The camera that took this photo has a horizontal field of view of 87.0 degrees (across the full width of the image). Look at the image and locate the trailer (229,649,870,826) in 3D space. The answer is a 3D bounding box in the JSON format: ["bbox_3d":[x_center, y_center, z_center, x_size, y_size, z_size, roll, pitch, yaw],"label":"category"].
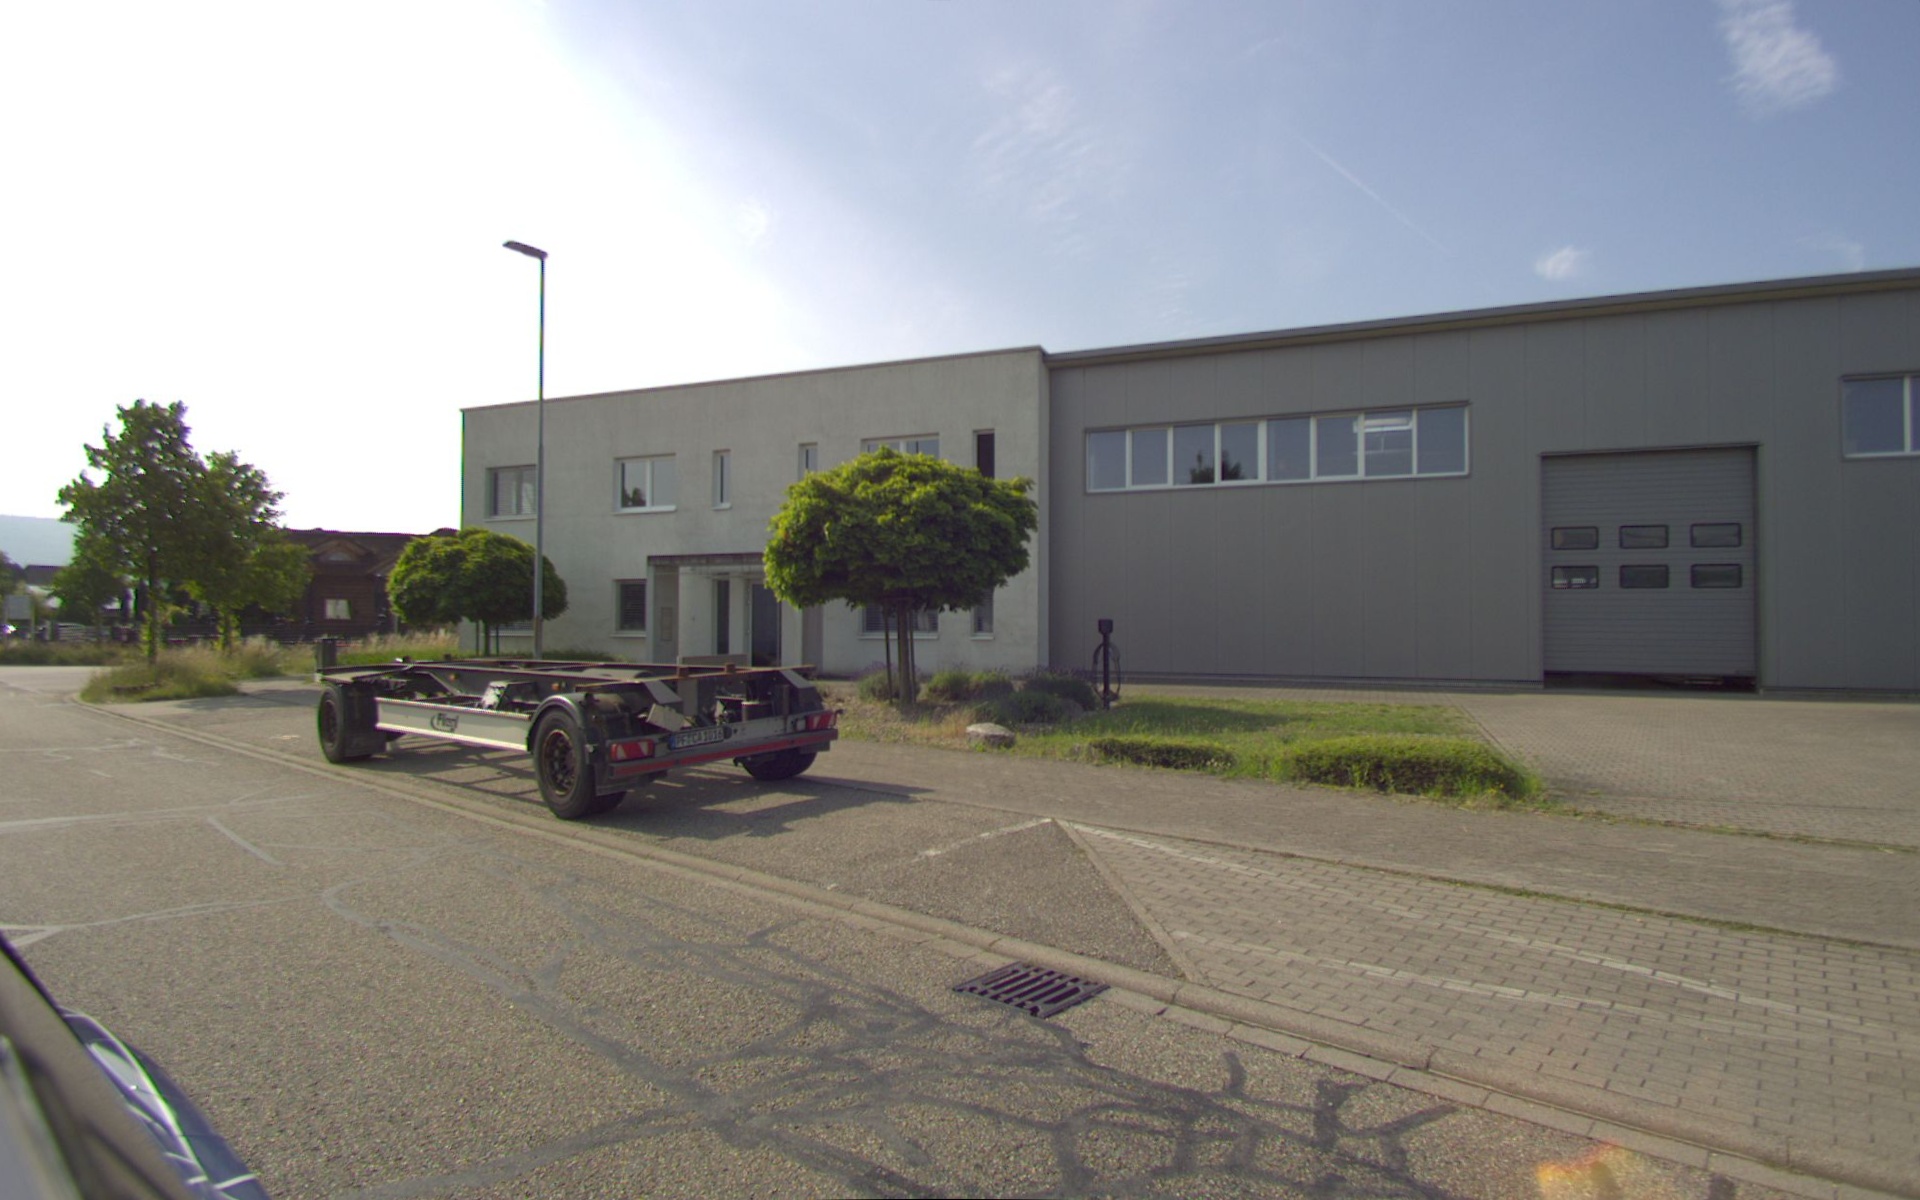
[{"bbox_3d":[-5.301,1.174,11.317,9.725,1.082,2.520,-2,-1,41],"label":"trailer"}]

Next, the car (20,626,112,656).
[{"bbox_3d":[-54.502,2.457,61.739,1.999,1.741,3.945,-2,-2,41],"label":"car"}]

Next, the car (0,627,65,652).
[{"bbox_3d":[-71.234,2.991,77.190,1.984,1.807,3.974,-1,-2,19],"label":"car"}]
